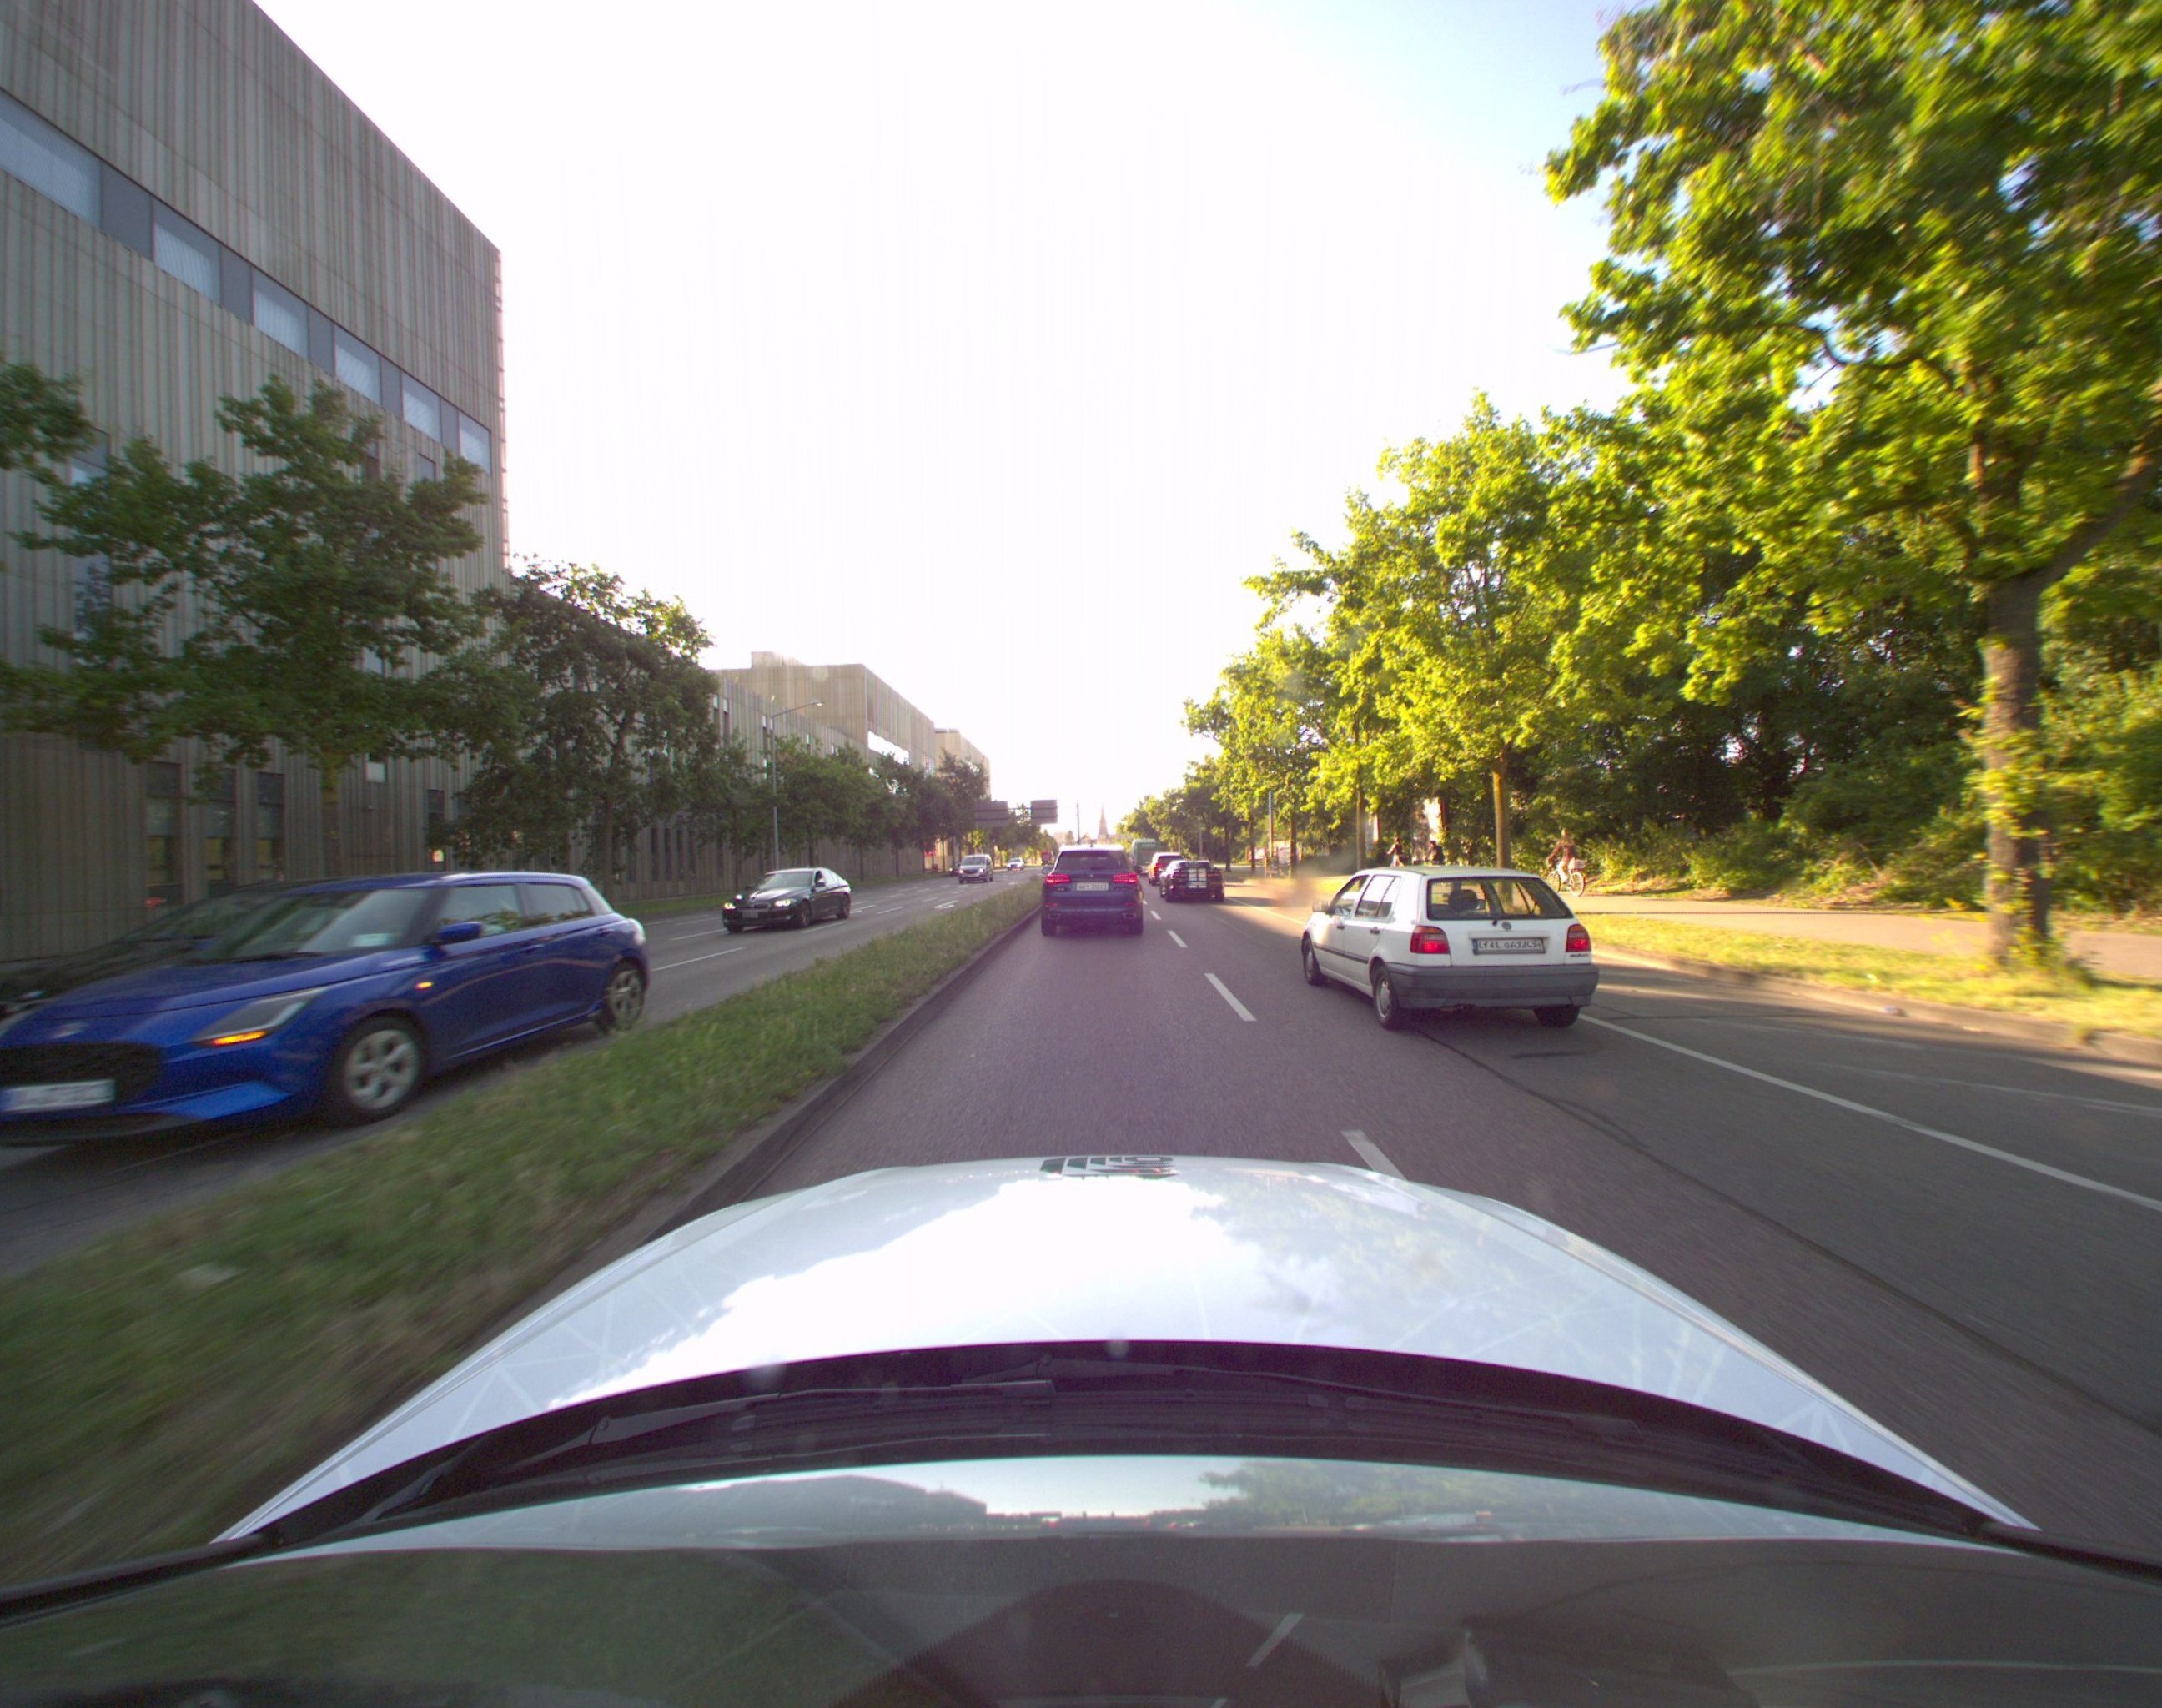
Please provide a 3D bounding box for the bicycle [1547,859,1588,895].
[{"bbox_3d":[12.788,0.606,21.443,0.436,0.914,1.027,-3,-1,2],"label":"bicycle"}]

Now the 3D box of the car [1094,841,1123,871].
[{"bbox_3d":[2.390,0.203,72.361,2.132,2.576,5.080,0,-1,-3],"label":"car"}]

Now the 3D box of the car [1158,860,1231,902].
[{"bbox_3d":[3.678,0.873,27.137,1.986,1.295,4.001,0,-1,2],"label":"car"}]

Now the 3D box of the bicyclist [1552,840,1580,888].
[{"bbox_3d":[12.779,0.265,21.460,0.426,1.233,0.460,-2,-2,1],"label":"bicyclist"}]

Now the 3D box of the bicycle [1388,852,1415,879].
[{"bbox_3d":[13.636,0.500,34.665,0.562,1.112,1.622,0,-1,2],"label":"bicycle"}]

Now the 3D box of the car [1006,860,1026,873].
[{"bbox_3d":[-8.241,1.649,103.622,1.987,1.452,4.714,-5,-1,0],"label":"car"}]

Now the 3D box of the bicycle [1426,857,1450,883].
[{"bbox_3d":[13.210,0.590,30.137,0.436,0.914,1.027,0,-1,2],"label":"bicycle"}]

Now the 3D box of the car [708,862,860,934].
[{"bbox_3d":[-7.401,1.045,20.880,1.987,1.452,4.797,-6,-1,0],"label":"car"}]

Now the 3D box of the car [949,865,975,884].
[{"bbox_3d":[-11.757,1.992,80.654,1.751,1.705,4.493,-5,-1,0],"label":"car"}]

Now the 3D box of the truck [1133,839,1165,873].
[{"bbox_3d":[4.710,0.166,56.927,1.989,2.315,4.001,0,-1,2],"label":"truck"}]

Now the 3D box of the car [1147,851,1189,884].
[{"bbox_3d":[4.338,0.705,40.882,1.789,1.559,4.001,0,-1,2],"label":"car"}]

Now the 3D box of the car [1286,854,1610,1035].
[{"bbox_3d":[3.403,0.759,8.457,1.573,1.413,4.062,0,-1,1],"label":"car"}]

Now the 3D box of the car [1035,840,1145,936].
[{"bbox_3d":[0.234,0.665,17.030,1.986,1.734,4.534,0,-1,2],"label":"car"}]

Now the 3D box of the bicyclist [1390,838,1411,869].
[{"bbox_3d":[13.620,-0.006,34.730,0.541,1.316,0.835,0,-1,1],"label":"bicyclist"}]

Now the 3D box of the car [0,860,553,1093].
[{"bbox_3d":[-7.903,0.978,8.168,1.987,1.591,4.714,-5,-1,0],"label":"car"}]

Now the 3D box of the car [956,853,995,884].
[{"bbox_3d":[-6.848,0.941,53.175,1.751,1.777,4.493,-5,-1,0],"label":"car"}]

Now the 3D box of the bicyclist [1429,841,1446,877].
[{"bbox_3d":[13.217,0.186,30.170,0.426,1.309,0.460,0,-2,1],"label":"bicyclist"}]

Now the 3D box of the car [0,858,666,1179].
[{"bbox_3d":[-4.925,0.861,5.891,1.696,1.452,3.858,-5,-1,1],"label":"car"}]

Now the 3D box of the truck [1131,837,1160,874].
[{"bbox_3d":[4.864,0.142,61.659,1.989,2.669,4.001,0,-1,2],"label":"truck"}]

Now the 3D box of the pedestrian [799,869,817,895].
[{"bbox_3d":[-21.312,2.164,63.625,1.015,2.014,0.962,0,-2,1],"label":"pedestrian"}]

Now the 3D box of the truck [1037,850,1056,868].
[{"bbox_3d":[-8.487,1.317,200.641,3.975,4.088,11.447,0,-1,1],"label":"truck"}]
